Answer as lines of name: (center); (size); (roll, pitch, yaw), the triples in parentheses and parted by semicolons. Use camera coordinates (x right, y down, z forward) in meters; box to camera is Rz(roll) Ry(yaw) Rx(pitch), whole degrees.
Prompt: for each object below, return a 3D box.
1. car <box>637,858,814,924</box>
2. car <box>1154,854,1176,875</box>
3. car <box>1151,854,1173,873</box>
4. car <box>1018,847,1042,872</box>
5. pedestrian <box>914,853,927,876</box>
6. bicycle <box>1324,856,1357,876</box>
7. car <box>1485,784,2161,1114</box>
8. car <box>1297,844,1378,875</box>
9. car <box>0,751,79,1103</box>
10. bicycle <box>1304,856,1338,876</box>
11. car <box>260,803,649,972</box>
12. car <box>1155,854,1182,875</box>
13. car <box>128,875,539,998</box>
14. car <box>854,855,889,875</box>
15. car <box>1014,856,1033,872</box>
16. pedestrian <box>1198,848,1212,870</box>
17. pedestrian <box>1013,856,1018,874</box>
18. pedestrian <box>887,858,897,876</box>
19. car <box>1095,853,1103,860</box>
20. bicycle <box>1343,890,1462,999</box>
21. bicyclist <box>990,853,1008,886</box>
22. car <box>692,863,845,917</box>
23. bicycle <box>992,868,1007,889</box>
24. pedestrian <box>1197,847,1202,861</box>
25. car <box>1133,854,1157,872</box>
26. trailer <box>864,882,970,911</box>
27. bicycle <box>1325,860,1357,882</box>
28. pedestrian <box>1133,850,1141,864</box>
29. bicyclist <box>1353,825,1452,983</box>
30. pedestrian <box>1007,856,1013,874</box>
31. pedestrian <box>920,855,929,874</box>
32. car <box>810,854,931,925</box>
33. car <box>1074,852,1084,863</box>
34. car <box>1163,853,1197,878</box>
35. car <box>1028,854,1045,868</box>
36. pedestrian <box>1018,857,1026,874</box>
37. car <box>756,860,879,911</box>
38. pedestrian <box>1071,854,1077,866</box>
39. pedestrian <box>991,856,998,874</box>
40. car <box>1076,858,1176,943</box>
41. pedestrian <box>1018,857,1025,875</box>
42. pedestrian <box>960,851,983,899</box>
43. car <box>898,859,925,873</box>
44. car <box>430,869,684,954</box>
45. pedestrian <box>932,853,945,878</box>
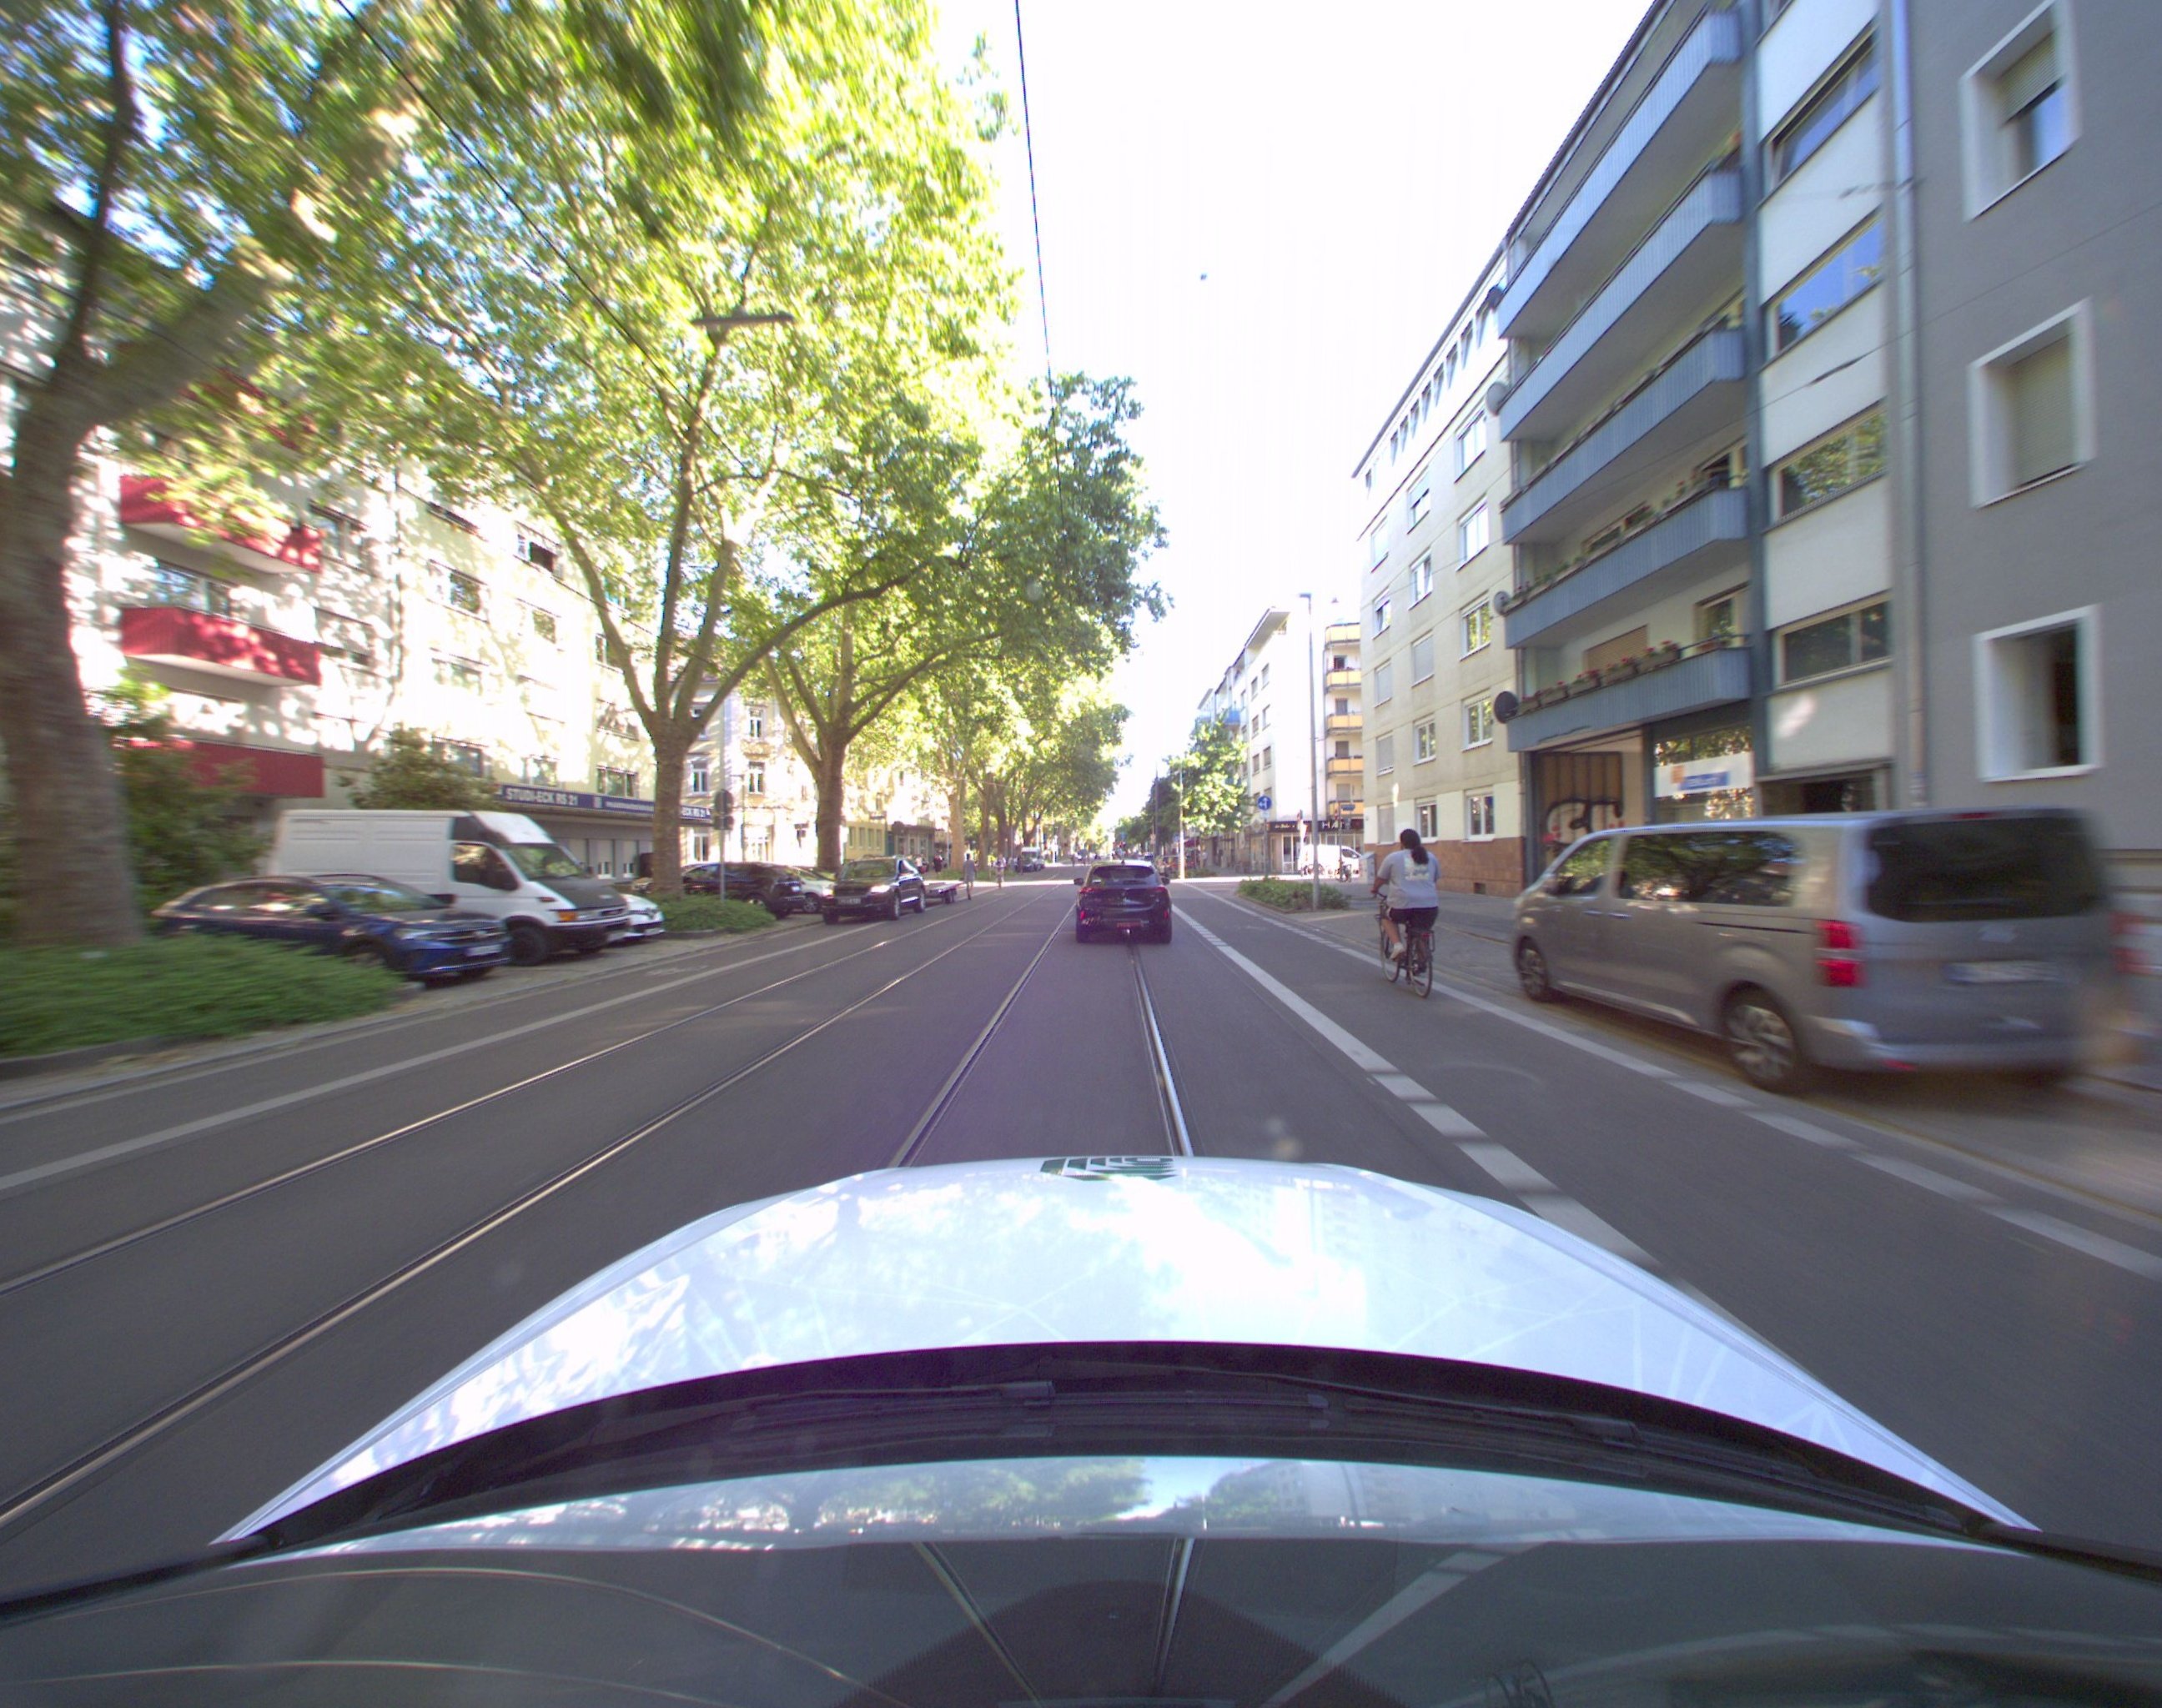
car: (-9.686, 0.980, 22.400); (3.973, 1.647, 1.894); (-1, 0, 0)
car: (6.788, 0.844, 66.124); (1.644, 1.574, 3.086); (-1, 0, 4)
car: (6.957, 0.782, 69.973); (1.711, 1.574, 3.685); (-1, 0, 4)
car: (-5.550, 0.549, 89.377); (2.084, 2.584, 5.999); (-1, 0, 2)
pedestrian: (-11.961, 0.784, 60.604); (0.845, 1.632, 0.643); (-1, 0, -4)
bicycle: (14.847, 0.698, 46.703); (1.759, 1.117, 0.616); (-1, 0, 15)
car: (5.600, 0.556, 7.194); (1.850, 1.890, 4.929); (-1, 0, 4)
car: (15.970, 0.323, 50.832); (4.347, 1.831, 1.998); (-1, 0, -2)
car: (-10.310, 0.566, 5.200); (5.339, 2.477, 2.058); (-1, 0, 2)
bicycle: (14.070, 0.679, 47.805); (1.827, 1.117, 0.704); (-1, 0, 4)
car: (-10.474, 0.519, 13.959); (4.930, 2.567, 2.081); (-1, 0, -2)
car: (6.654, 0.767, 62.223); (1.712, 1.490, 3.681); (-1, 0, 0)
car: (-10.157, 1.079, 11.305); (4.003, 1.466, 1.873); (-1, 0, 2)
car: (-16.827, 0.858, 65.597); (1.675, 1.517, 4.003); (0, 0, 3)
car: (-5.803, 1.033, 82.917); (1.749, 1.508, 3.997); (-1, 0, -2)
pedestrian: (10.157, 0.411, 66.619); (0.761, 1.748, 0.800); (-2, -1, 44)
pedestrian: (-5.910, 0.966, 73.270); (0.345, 1.583, 0.508); (-1, 0, 0)
pedestrian: (-15.106, 1.008, 65.045); (0.549, 1.403, 0.650); (-1, 0, 5)
car: (4.363, 0.651, 200.072); (1.742, 1.651, 4.004); (-1, 0, 3)
bicycle: (3.783, 1.021, 9.768); (0.698, 1.092, 1.990); (1, -1, 1)
bicyclist: (-4.171, 0.775, 41.685); (0.782, 1.678, 0.957); (-1, 0, 1)
car: (-9.529, 1.085, 25.075); (3.973, 1.522, 1.771); (-1, 0, 0)
bicycle: (-4.147, 1.241, 41.677); (0.518, 0.962, 1.929); (-1, 0, 0)
pedestrian: (14.146, -0.010, 97.121); (0.626, 1.732, 0.633); (-1, 0, 8)
car: (6.336, 0.865, 80.973); (1.988, 1.640, 3.998); (-1, 0, -1)
trailer: (-5.435, 1.419, 28.068); (2.152, 0.632, 6.403); (-1, 0, 2)
bicycle: (12.463, 0.791, 39.112); (0.801, 1.015, 1.966); (-2, 0, -3)
pedestrian: (8.227, 0.431, 119.717); (0.853, 2.013, 1.070); (-6, -1, 2)
bicyclist: (3.753, 0.559, 9.573); (0.784, 1.759, 0.915); (-1, -1, 1)
pedestrian: (-6.373, 0.989, 73.014); (0.505, 1.583, 0.526); (-1, 0, -2)
pedestrian: (-13.802, 0.953, 71.958); (0.549, 1.652, 0.650); (-1, 0, 5)
car: (-5.702, 0.887, 22.650); (1.986, 1.700, 4.486); (-3, 0, 2)
car: (-0.426, 0.655, 172.378); (1.988, 2.211, 5.098); (-1, 0, -2)
car: (6.793, 0.773, 56.406); (1.714, 1.574, 4.081); (-1, 0, -2)
car: (-5.487, 0.842, 99.821); (1.989, 1.717, 3.995); (-1, 0, -4)
pedestrian: (-5.384, 1.044, 74.012); (0.681, 1.583, 0.557); (-1, 0, 0)
car: (-8.587, 1.001, 26.773); (3.421, 1.530, 1.786); (-1, 0, -2)
pedestrian: (-0.962, 0.865, 111.984); (0.594, 1.590, 0.891); (-1, 0, -5)
pedestrian: (-7.794, 1.015, 73.567); (0.507, 1.583, 0.524); (-1, 0, -13)
car: (0.803, 0.793, 15.511); (1.673, 1.422, 3.629); (0, 0, 1)
pedestrian: (-5.342, 1.098, 73.348); (0.505, 1.583, 0.527); (-1, 0, 1)
pedestrian: (-4.145, 0.786, 30.706); (0.712, 1.735, 0.909); (-3, 0, -12)
car: (-16.226, 1.113, 78.193); (1.689, 1.276, 3.829); (-1, 0, 2)
car: (-10.352, 1.107, 16.318); (3.841, 1.478, 1.860); (-1, 0, 0)
pedestrian: (-10.700, 0.883, 61.180); (0.903, 1.869, 0.643); (-1, 0, -4)
